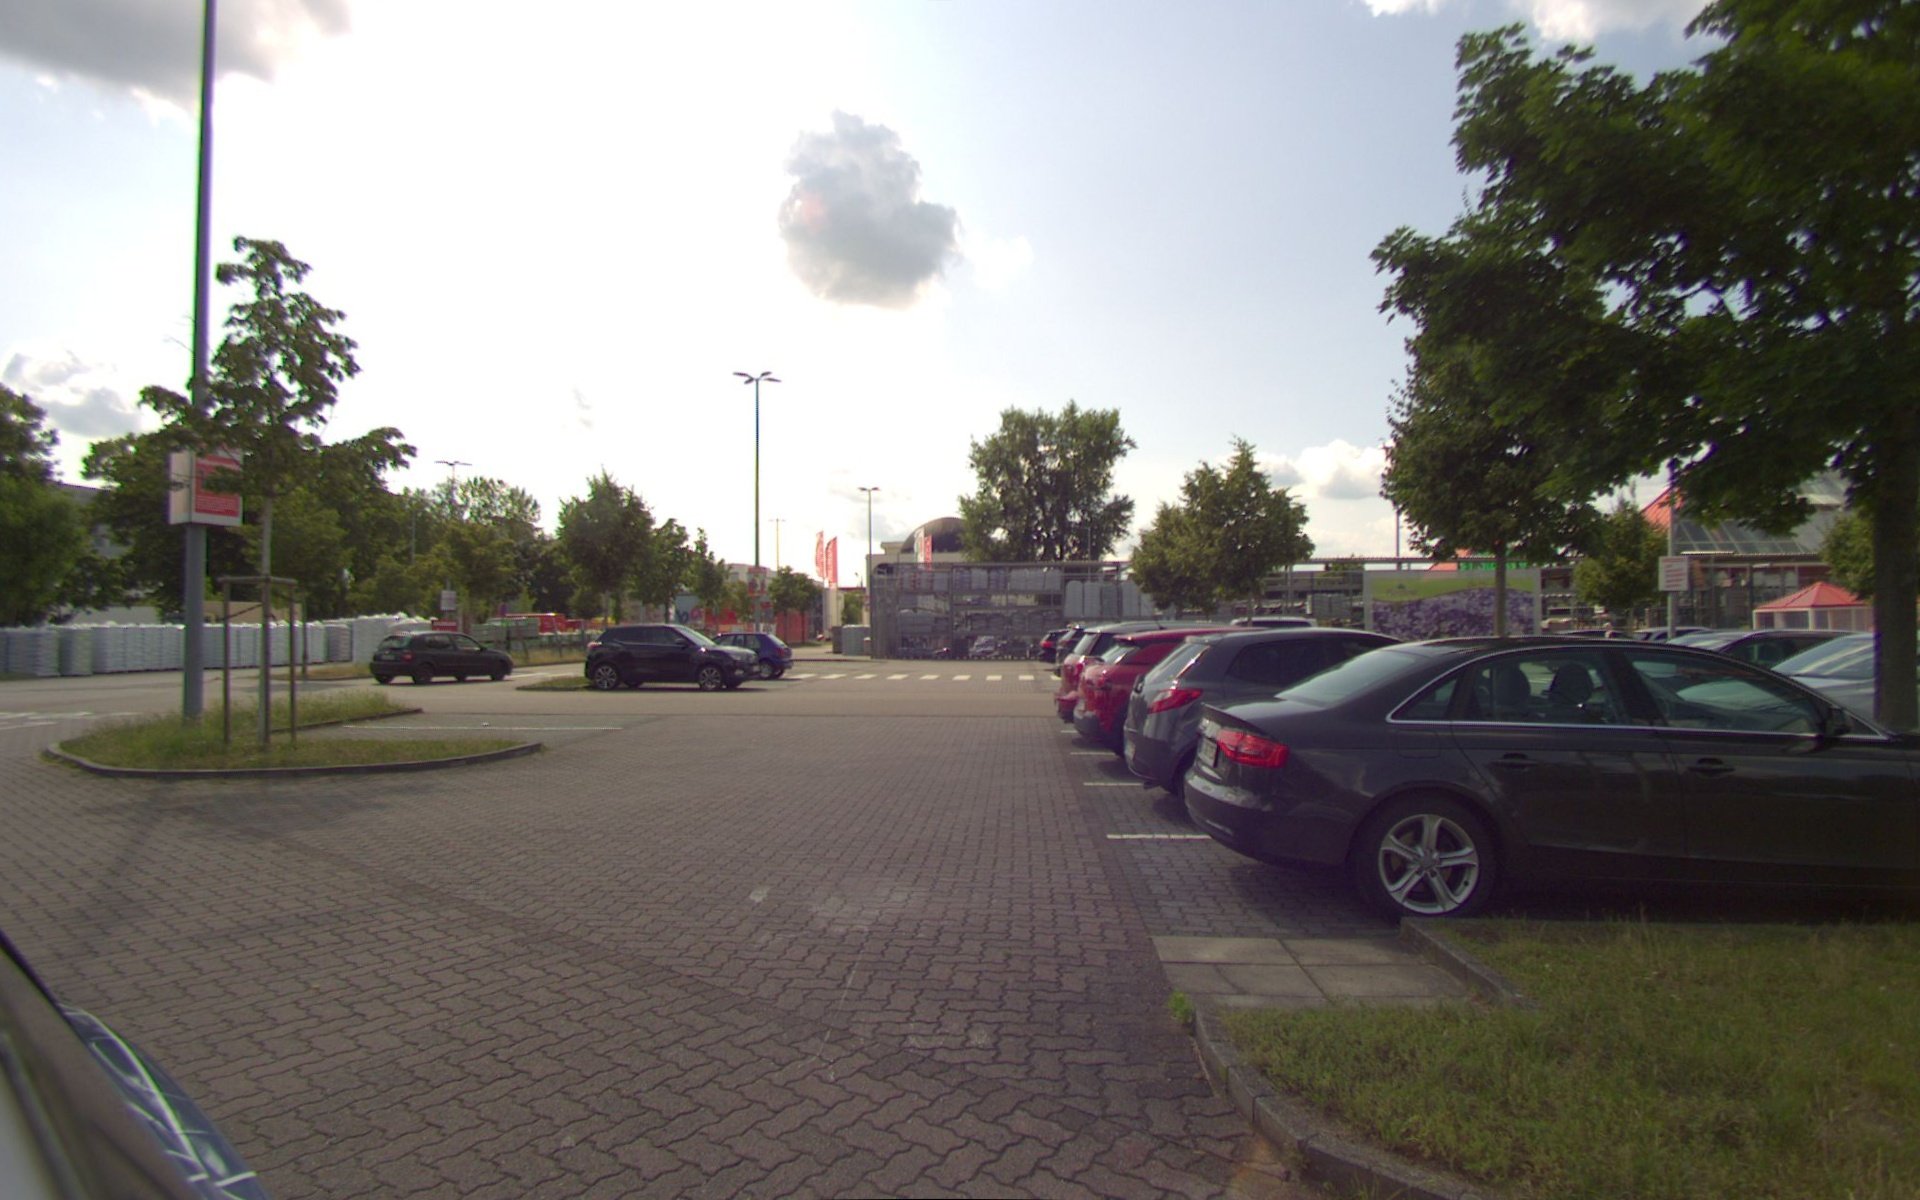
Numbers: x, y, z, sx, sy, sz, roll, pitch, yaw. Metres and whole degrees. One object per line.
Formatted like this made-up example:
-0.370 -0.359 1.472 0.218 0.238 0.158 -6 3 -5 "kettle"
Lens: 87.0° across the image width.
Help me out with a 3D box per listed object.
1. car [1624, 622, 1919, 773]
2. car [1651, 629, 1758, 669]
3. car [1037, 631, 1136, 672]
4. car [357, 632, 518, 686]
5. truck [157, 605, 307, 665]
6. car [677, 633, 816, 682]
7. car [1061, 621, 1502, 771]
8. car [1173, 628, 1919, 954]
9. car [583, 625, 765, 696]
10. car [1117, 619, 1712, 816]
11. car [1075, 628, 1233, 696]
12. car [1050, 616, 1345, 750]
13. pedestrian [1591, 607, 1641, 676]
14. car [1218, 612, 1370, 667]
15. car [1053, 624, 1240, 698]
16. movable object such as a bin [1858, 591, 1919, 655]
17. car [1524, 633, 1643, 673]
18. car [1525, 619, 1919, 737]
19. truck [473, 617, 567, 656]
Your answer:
9.412 0.902 10.110 4.223 1.363 1.893 0 -2 1 "car"
28.656 1.859 39.031 2.951 1.432 1.460 0 1 5 "car"
4.477 1.825 36.131 3.309 1.415 1.811 -1 -2 1 "car"
-14.164 1.561 27.646 1.602 1.331 3.756 -1 -2 24 "car"
-47.480 2.321 66.454 2.696 3.626 9.021 0 -2 5 "truck"
-6.217 1.674 29.659 3.714 1.378 1.619 -1 -3 4 "car"
3.161 0.959 10.624 4.033 1.409 1.765 -1 -2 2 "car"
3.560 0.891 5.480 4.485 1.443 1.769 -1 -2 5 "car"
-6.896 1.448 24.605 3.914 1.637 1.733 -1 -2 6 "car"
3.337 0.870 8.028 3.946 1.379 1.578 -1 -2 3 "car"
4.939 1.573 26.107 3.653 1.637 1.784 0 -2 -1 "car"
2.933 1.031 13.104 3.400 1.593 1.709 -1 -2 2 "car"
19.607 1.234 30.270 0.903 2.029 0.817 -1 -2 2 "pedestrian"
12.707 1.504 38.769 5.120 2.029 1.997 -1 -2 4 "car"
4.278 1.396 23.670 4.028 1.637 1.783 -1 -2 1 "car"
39.986 0.938 40.978 5.260 2.513 2.131 0 -2 -1 "movable object such as a bin"
21.206 1.804 34.544 3.250 1.229 1.534 0 -4 25 "car"
9.569 0.934 12.754 3.840 1.293 1.823 0 1 3 "car"
-29.387 2.463 67.638 5.370 2.534 2.115 0 -2 1 "truck"
